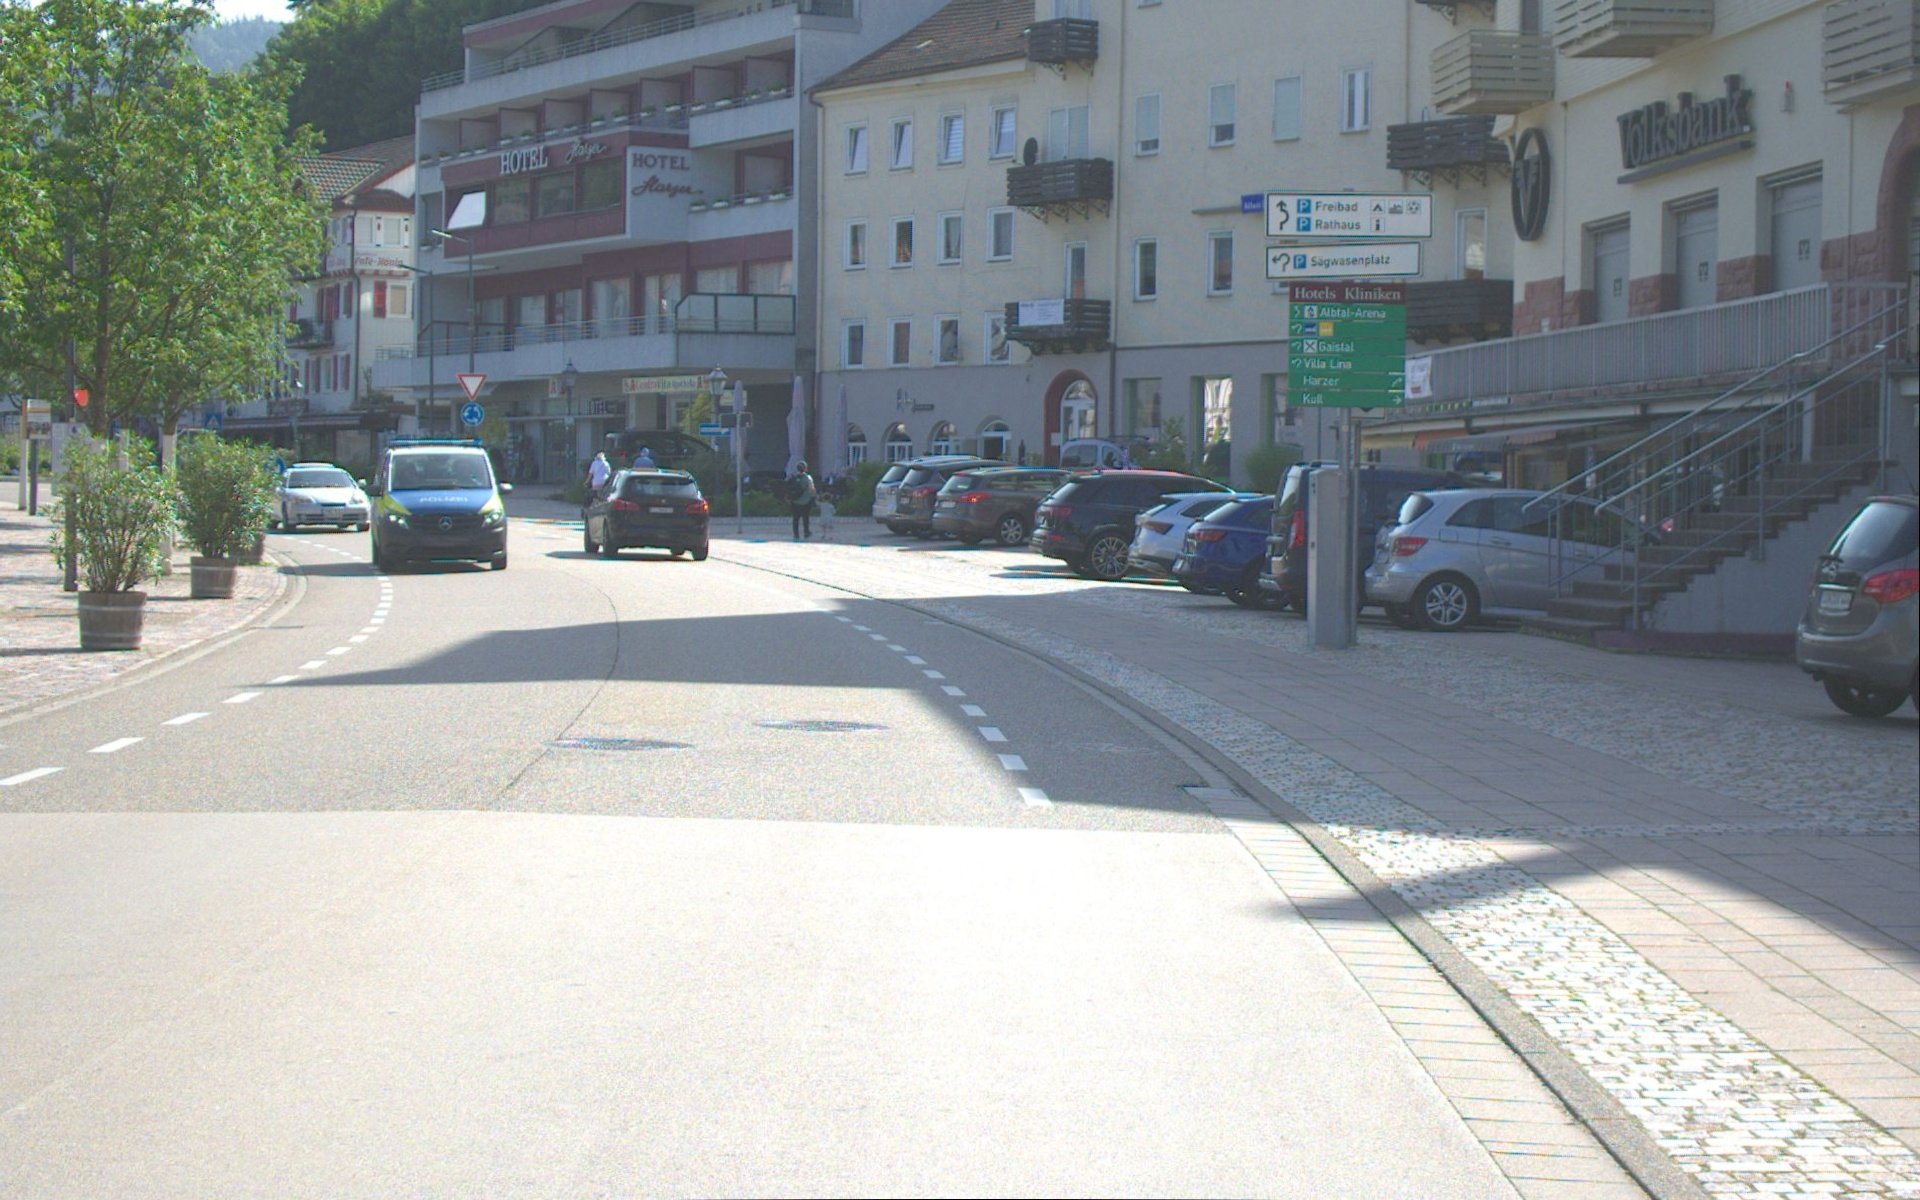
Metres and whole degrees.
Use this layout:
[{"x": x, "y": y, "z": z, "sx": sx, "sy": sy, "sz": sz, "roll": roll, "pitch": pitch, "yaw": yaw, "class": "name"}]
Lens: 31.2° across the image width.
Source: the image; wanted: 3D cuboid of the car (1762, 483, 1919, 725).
[{"x": 7.713, "y": 0.087, "z": 23.568, "sx": 3.858, "sy": 1.549, "sz": 1.761, "roll": 3, "pitch": 2, "yaw": -7, "class": "car"}]

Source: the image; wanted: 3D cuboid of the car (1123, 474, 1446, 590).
[{"x": 4.614, "y": -0.968, "z": 49.309, "sx": 4.356, "sy": 1.456, "sz": 1.773, "roll": 2, "pitch": 1, "yaw": -2, "class": "car"}]

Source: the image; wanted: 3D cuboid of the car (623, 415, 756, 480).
[{"x": -7.254, "y": -4.077, "z": 92.072, "sx": 3.162, "sy": 1.657, "sz": 1.595, "roll": 0, "pitch": 3, "yaw": -25, "class": "car"}]

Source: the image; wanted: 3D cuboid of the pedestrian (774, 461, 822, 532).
[{"x": -3.319, "y": -2.130, "z": 70.482, "sx": 0.735, "sy": 1.437, "sz": 0.633, "roll": -3, "pitch": 3, "yaw": -35, "class": "pedestrian"}]

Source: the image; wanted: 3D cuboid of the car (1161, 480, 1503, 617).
[{"x": 4.591, "y": -0.657, "z": 42.759, "sx": 3.909, "sy": 1.455, "sz": 1.736, "roll": 3, "pitch": 2, "yaw": -4, "class": "car"}]

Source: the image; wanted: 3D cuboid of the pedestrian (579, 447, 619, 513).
[{"x": -8.819, "y": -2.938, "z": 83.912, "sx": 0.757, "sy": 1.588, "sz": 0.628, "roll": 0, "pitch": 2, "yaw": -27, "class": "pedestrian"}]

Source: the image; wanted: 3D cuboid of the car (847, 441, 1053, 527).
[{"x": -0.212, "y": -2.423, "z": 71.326, "sx": 3.860, "sy": 1.607, "sz": 1.773, "roll": -3, "pitch": 5, "yaw": -24, "class": "car"}]

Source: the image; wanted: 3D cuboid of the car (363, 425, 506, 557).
[{"x": -8.209, "y": -1.707, "z": 53.403, "sx": 1.854, "sy": 1.946, "sz": 5.019, "roll": -1, "pitch": 2, "yaw": -12, "class": "car"}]

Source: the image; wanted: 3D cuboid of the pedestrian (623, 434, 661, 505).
[{"x": -7.734, "y": -3.178, "z": 83.675, "sx": 0.668, "sy": 1.722, "sz": 0.708, "roll": 0, "pitch": 2, "yaw": -27, "class": "pedestrian"}]

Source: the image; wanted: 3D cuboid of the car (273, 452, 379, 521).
[{"x": -13.247, "y": -2.380, "z": 71.707, "sx": 1.627, "sy": 1.365, "sz": 4.065, "roll": -2, "pitch": 3, "yaw": -18, "class": "car"}]

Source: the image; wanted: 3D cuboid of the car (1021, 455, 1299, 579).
[{"x": 3.117, "y": -1.316, "z": 54.190, "sx": 4.083, "sy": 1.660, "sz": 1.773, "roll": 4, "pitch": 2, "yaw": -4, "class": "car"}]

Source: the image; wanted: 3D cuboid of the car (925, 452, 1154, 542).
[{"x": 1.528, "y": -1.995, "z": 65.923, "sx": 4.009, "sy": 1.511, "sz": 1.773, "roll": -3, "pitch": 5, "yaw": -24, "class": "car"}]

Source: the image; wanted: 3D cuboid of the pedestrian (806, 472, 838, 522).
[{"x": -2.841, "y": -2.123, "z": 70.772, "sx": 0.417, "sy": 0.998, "sz": 0.531, "roll": -3, "pitch": 3, "yaw": -36, "class": "pedestrian"}]

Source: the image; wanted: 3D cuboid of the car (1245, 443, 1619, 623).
[{"x": 5.459, "y": -0.790, "z": 40.077, "sx": 3.909, "sy": 1.798, "sz": 1.858, "roll": 4, "pitch": 1, "yaw": -4, "class": "car"}]

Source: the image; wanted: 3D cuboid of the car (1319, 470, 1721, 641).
[{"x": 6.039, "y": -0.499, "z": 37.333, "sx": 3.909, "sy": 1.583, "sz": 1.775, "roll": 3, "pitch": 2, "yaw": -4, "class": "car"}]

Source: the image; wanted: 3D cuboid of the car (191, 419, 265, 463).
[{"x": -28.454, "y": -6.182, "z": 133.550, "sx": 1.676, "sy": 1.615, "sz": 4.001, "roll": 0, "pitch": 3, "yaw": -29, "class": "car"}]

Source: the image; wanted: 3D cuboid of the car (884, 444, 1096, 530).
[{"x": 0.609, "y": -2.297, "z": 69.192, "sx": 3.860, "sy": 1.544, "sz": 1.773, "roll": -3, "pitch": 5, "yaw": -24, "class": "car"}]

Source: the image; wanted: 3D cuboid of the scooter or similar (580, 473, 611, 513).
[{"x": -8.908, "y": -2.611, "z": 84.087, "sx": 0.596, "sy": 0.947, "sz": 0.474, "roll": 0, "pitch": 2, "yaw": -27, "class": "scooter or similar"}]

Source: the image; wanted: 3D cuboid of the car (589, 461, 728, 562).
[{"x": -5.321, "y": -1.571, "z": 60.286, "sx": 1.726, "sy": 1.569, "sz": 3.755, "roll": 1, "pitch": 4, "yaw": -16, "class": "car"}]
